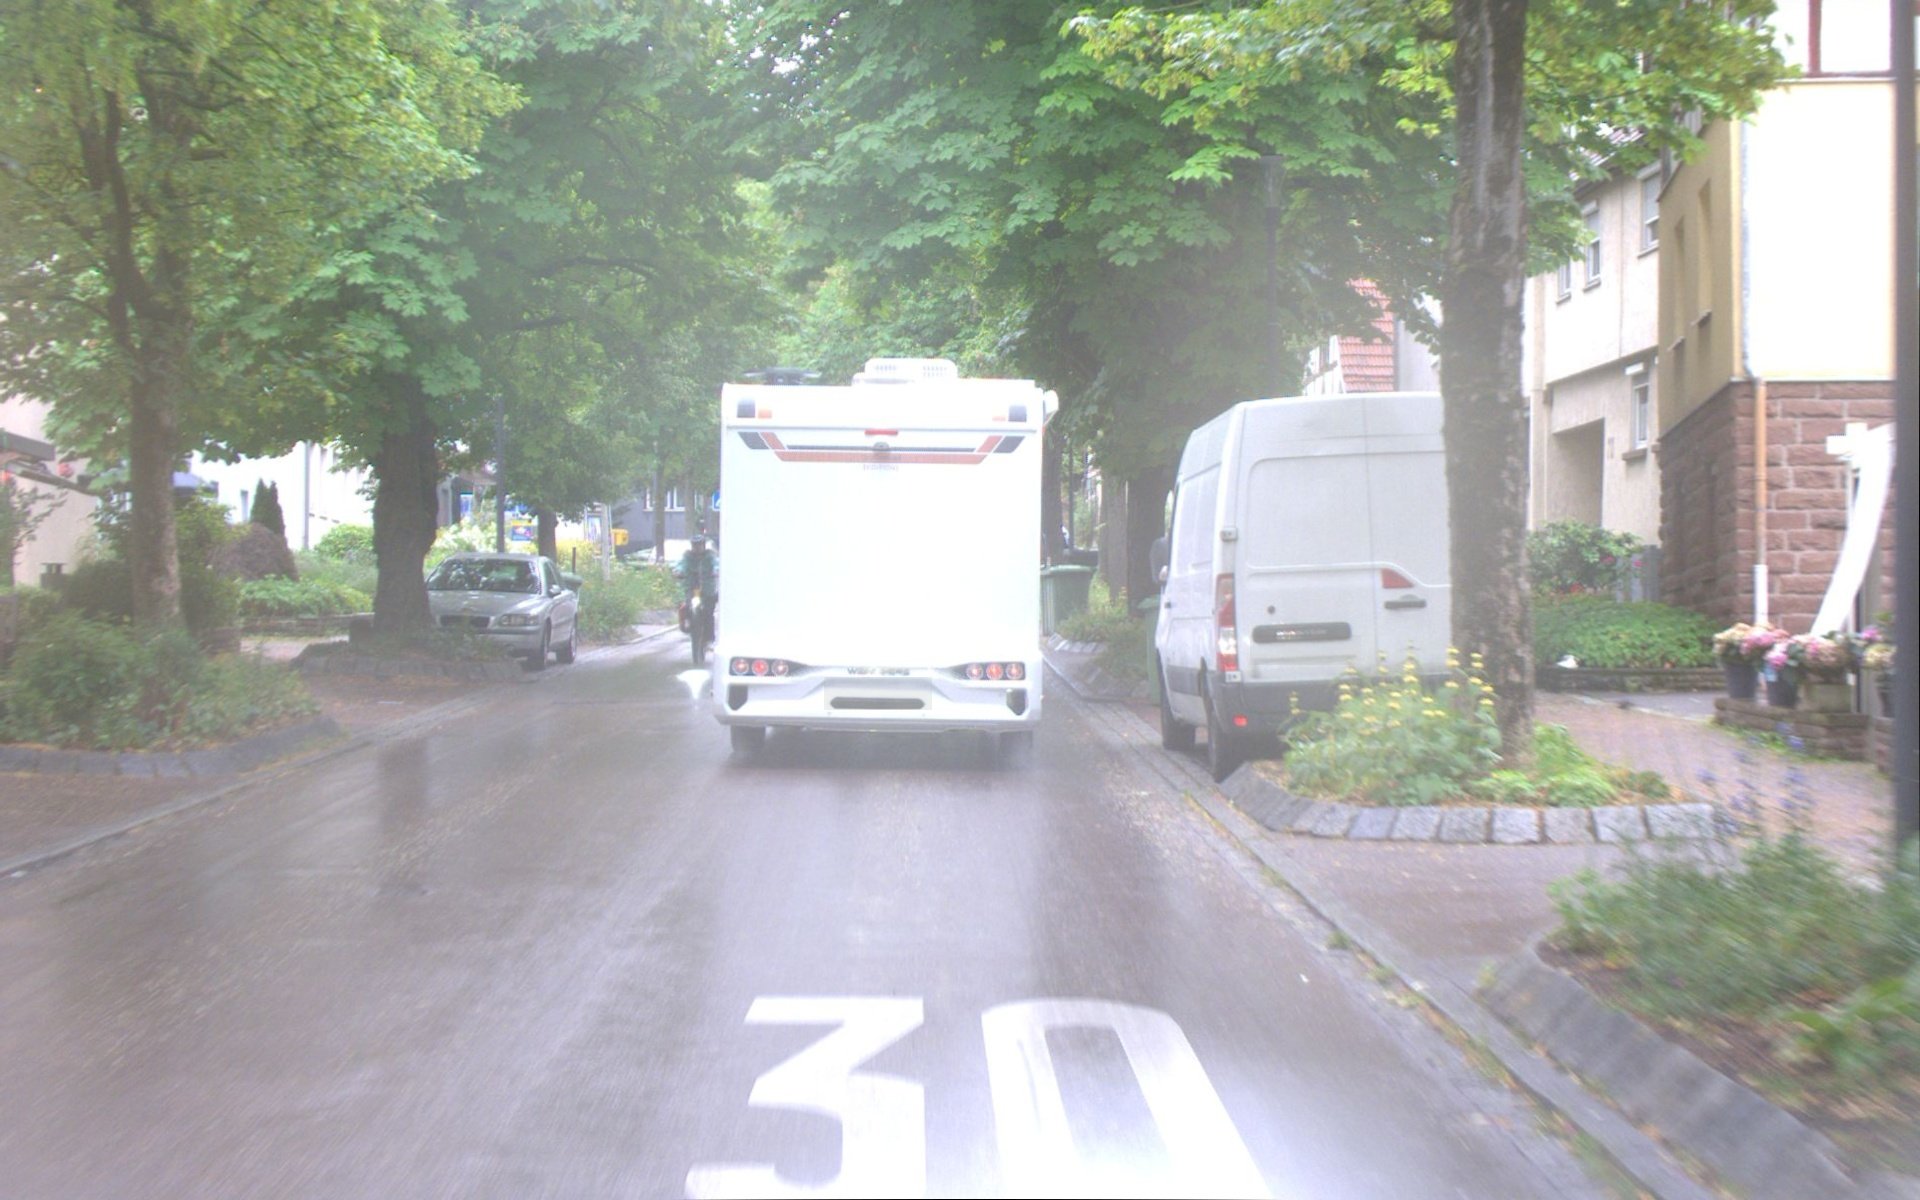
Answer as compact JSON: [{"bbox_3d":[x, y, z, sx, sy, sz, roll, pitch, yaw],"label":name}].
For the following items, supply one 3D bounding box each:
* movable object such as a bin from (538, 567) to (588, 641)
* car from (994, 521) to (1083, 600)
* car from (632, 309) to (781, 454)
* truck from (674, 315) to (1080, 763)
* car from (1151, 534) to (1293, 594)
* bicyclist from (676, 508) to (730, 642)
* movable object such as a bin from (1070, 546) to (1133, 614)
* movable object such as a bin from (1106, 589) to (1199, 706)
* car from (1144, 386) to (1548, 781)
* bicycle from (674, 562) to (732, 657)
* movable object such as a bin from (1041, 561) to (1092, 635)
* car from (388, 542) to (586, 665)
[{"bbox_3d":[-5.867,0.056,50.794,0.595,1.059,0.545,3,1,3],"label":"movable object such as a bin"},{"bbox_3d":[1.824,-0.947,81.034,1.914,1.786,4.489,1,1,-1],"label":"car"},{"bbox_3d":[-3.851,-3.313,52.834,1.993,2.007,4.000,1,1,0],"label":"car"},{"bbox_3d":[-0.590,-0.454,26.201,2.694,2.975,6.237,1,1,-1],"label":"truck"},{"bbox_3d":[6.617,-0.926,86.976,3.364,1.425,1.631,-1,1,-4],"label":"car"},{"bbox_3d":[-3.348,-0.330,44.794,0.627,1.725,0.880,1,1,-1],"label":"bicyclist"},{"bbox_3d":[2.787,-0.395,67.660,1.225,1.311,1.134,0,1,2],"label":"movable object such as a bin"},{"bbox_3d":[1.819,0.444,32.598,0.797,1.071,0.879,1,1,-1],"label":"movable object such as a bin"},{"bbox_3d":[2.566,-0.139,24.258,2.141,2.451,5.435,1,1,-1],"label":"car"},{"bbox_3d":[-3.350,0.109,44.948,0.627,1.205,1.981,1,1,-1],"label":"bicycle"},{"bbox_3d":[1.581,-0.029,51.016,0.688,1.079,0.541,1,1,-4],"label":"movable object such as a bin"},{"bbox_3d":[-5.889,0.005,43.257,1.772,1.384,4.545,2,1,1],"label":"car"}]
